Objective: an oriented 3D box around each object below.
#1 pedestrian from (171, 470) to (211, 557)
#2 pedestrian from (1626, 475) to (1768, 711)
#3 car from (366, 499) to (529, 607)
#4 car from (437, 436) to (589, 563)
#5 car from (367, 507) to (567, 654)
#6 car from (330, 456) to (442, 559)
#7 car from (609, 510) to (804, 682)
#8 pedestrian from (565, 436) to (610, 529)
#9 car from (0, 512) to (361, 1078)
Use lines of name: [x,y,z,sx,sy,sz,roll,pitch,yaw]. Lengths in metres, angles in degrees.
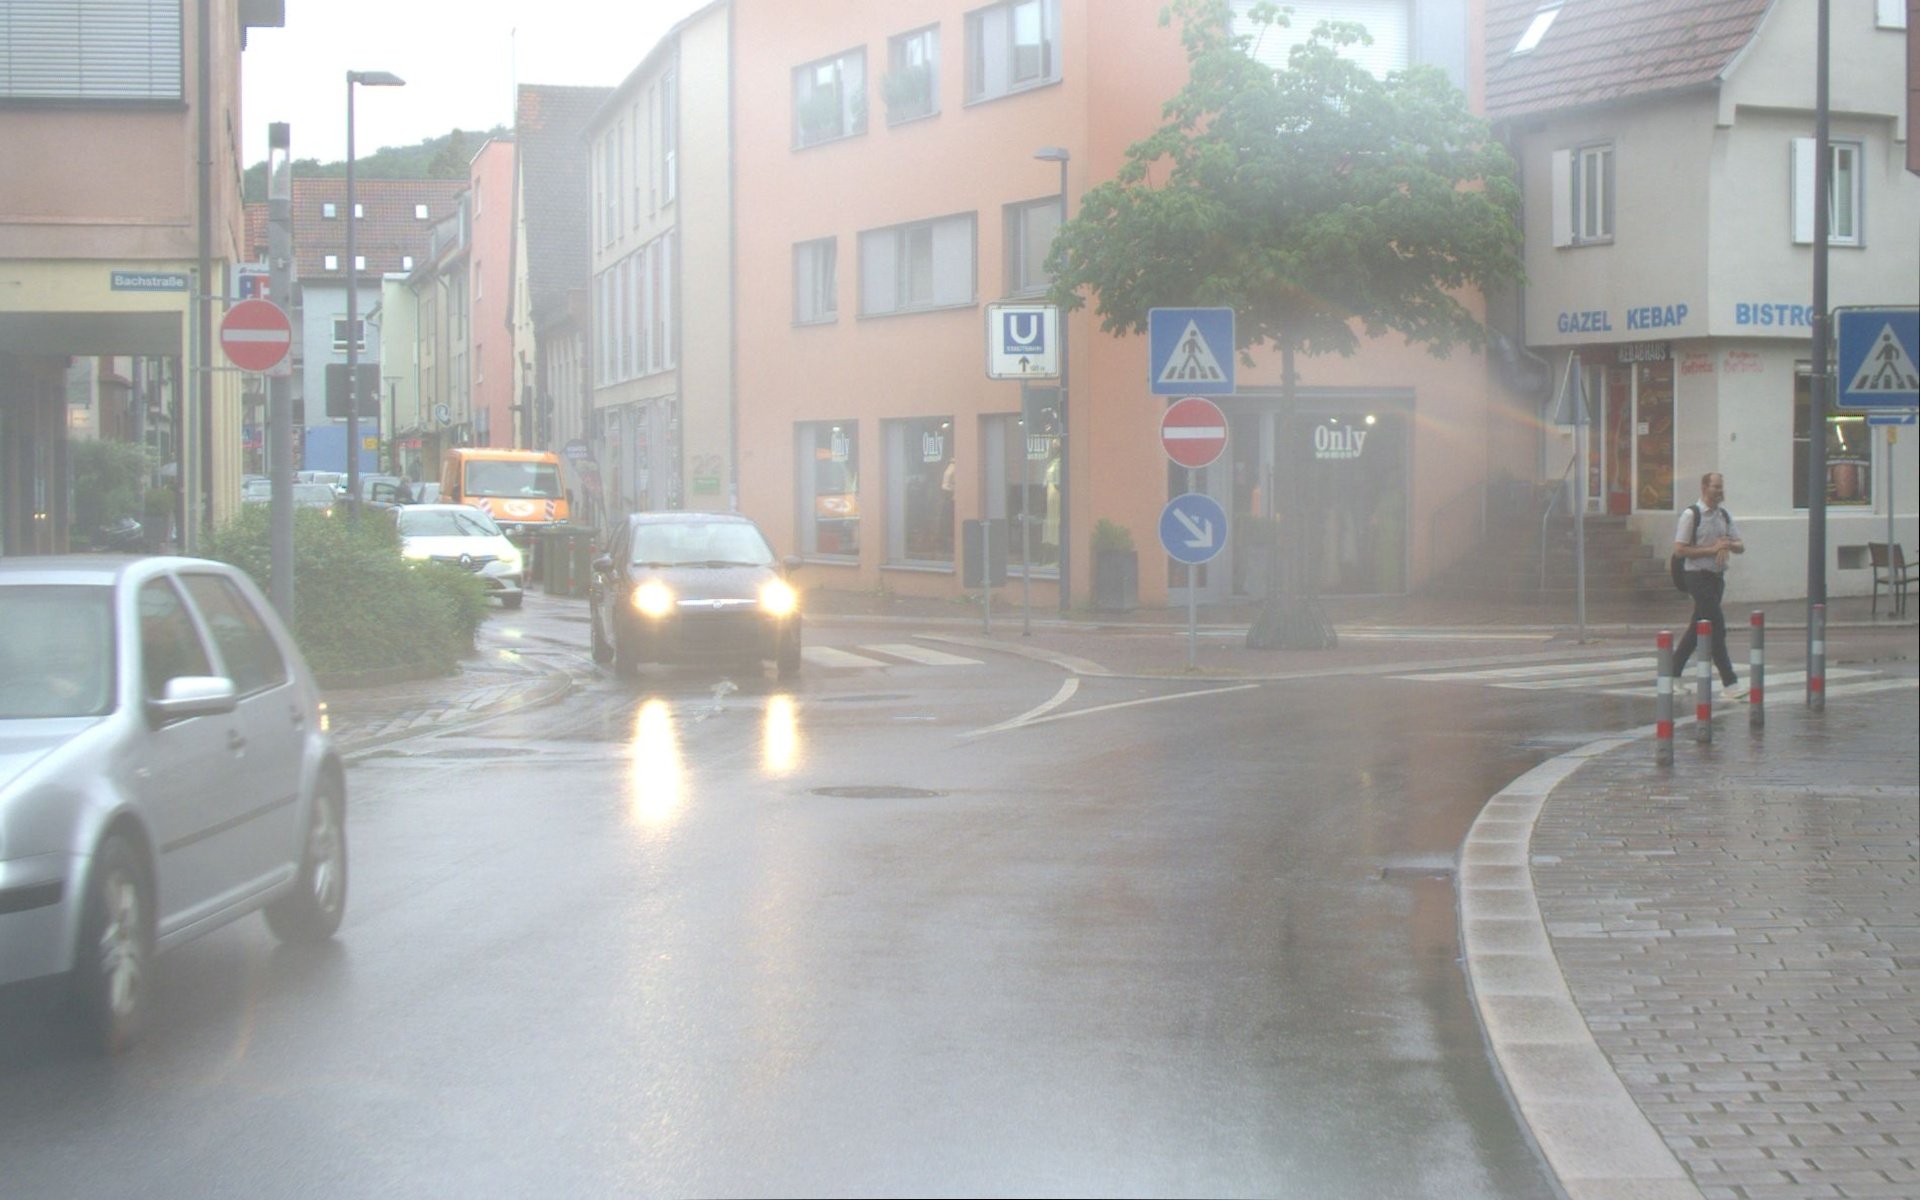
pedestrian: [-17.942,-2.019,80.226,0.834,2.006,0.854,-1,2,-16]
pedestrian: [6.081,-0.072,28.390,0.756,1.908,0.863,-1,2,-43]
car: [-7.353,-0.706,49.036,1.993,1.436,4.165,-1,2,-13]
car: [-8.158,-1.801,62.373,2.103,2.139,4.869,-2,2,-14]
car: [-5.312,-0.242,36.716,1.714,1.453,3.912,0,2,-14]
car: [-12.722,-2.040,75.955,2.103,2.139,4.869,-2,2,-12]
car: [-2.377,-0.088,31.924,1.648,1.440,3.985,-2,2,-5]
pedestrian: [-8.069,-2.549,74.413,0.866,2.006,0.708,-1,2,-15]
car: [-3.159,0.475,10.677,1.790,1.412,4.029,-2,2,1]
